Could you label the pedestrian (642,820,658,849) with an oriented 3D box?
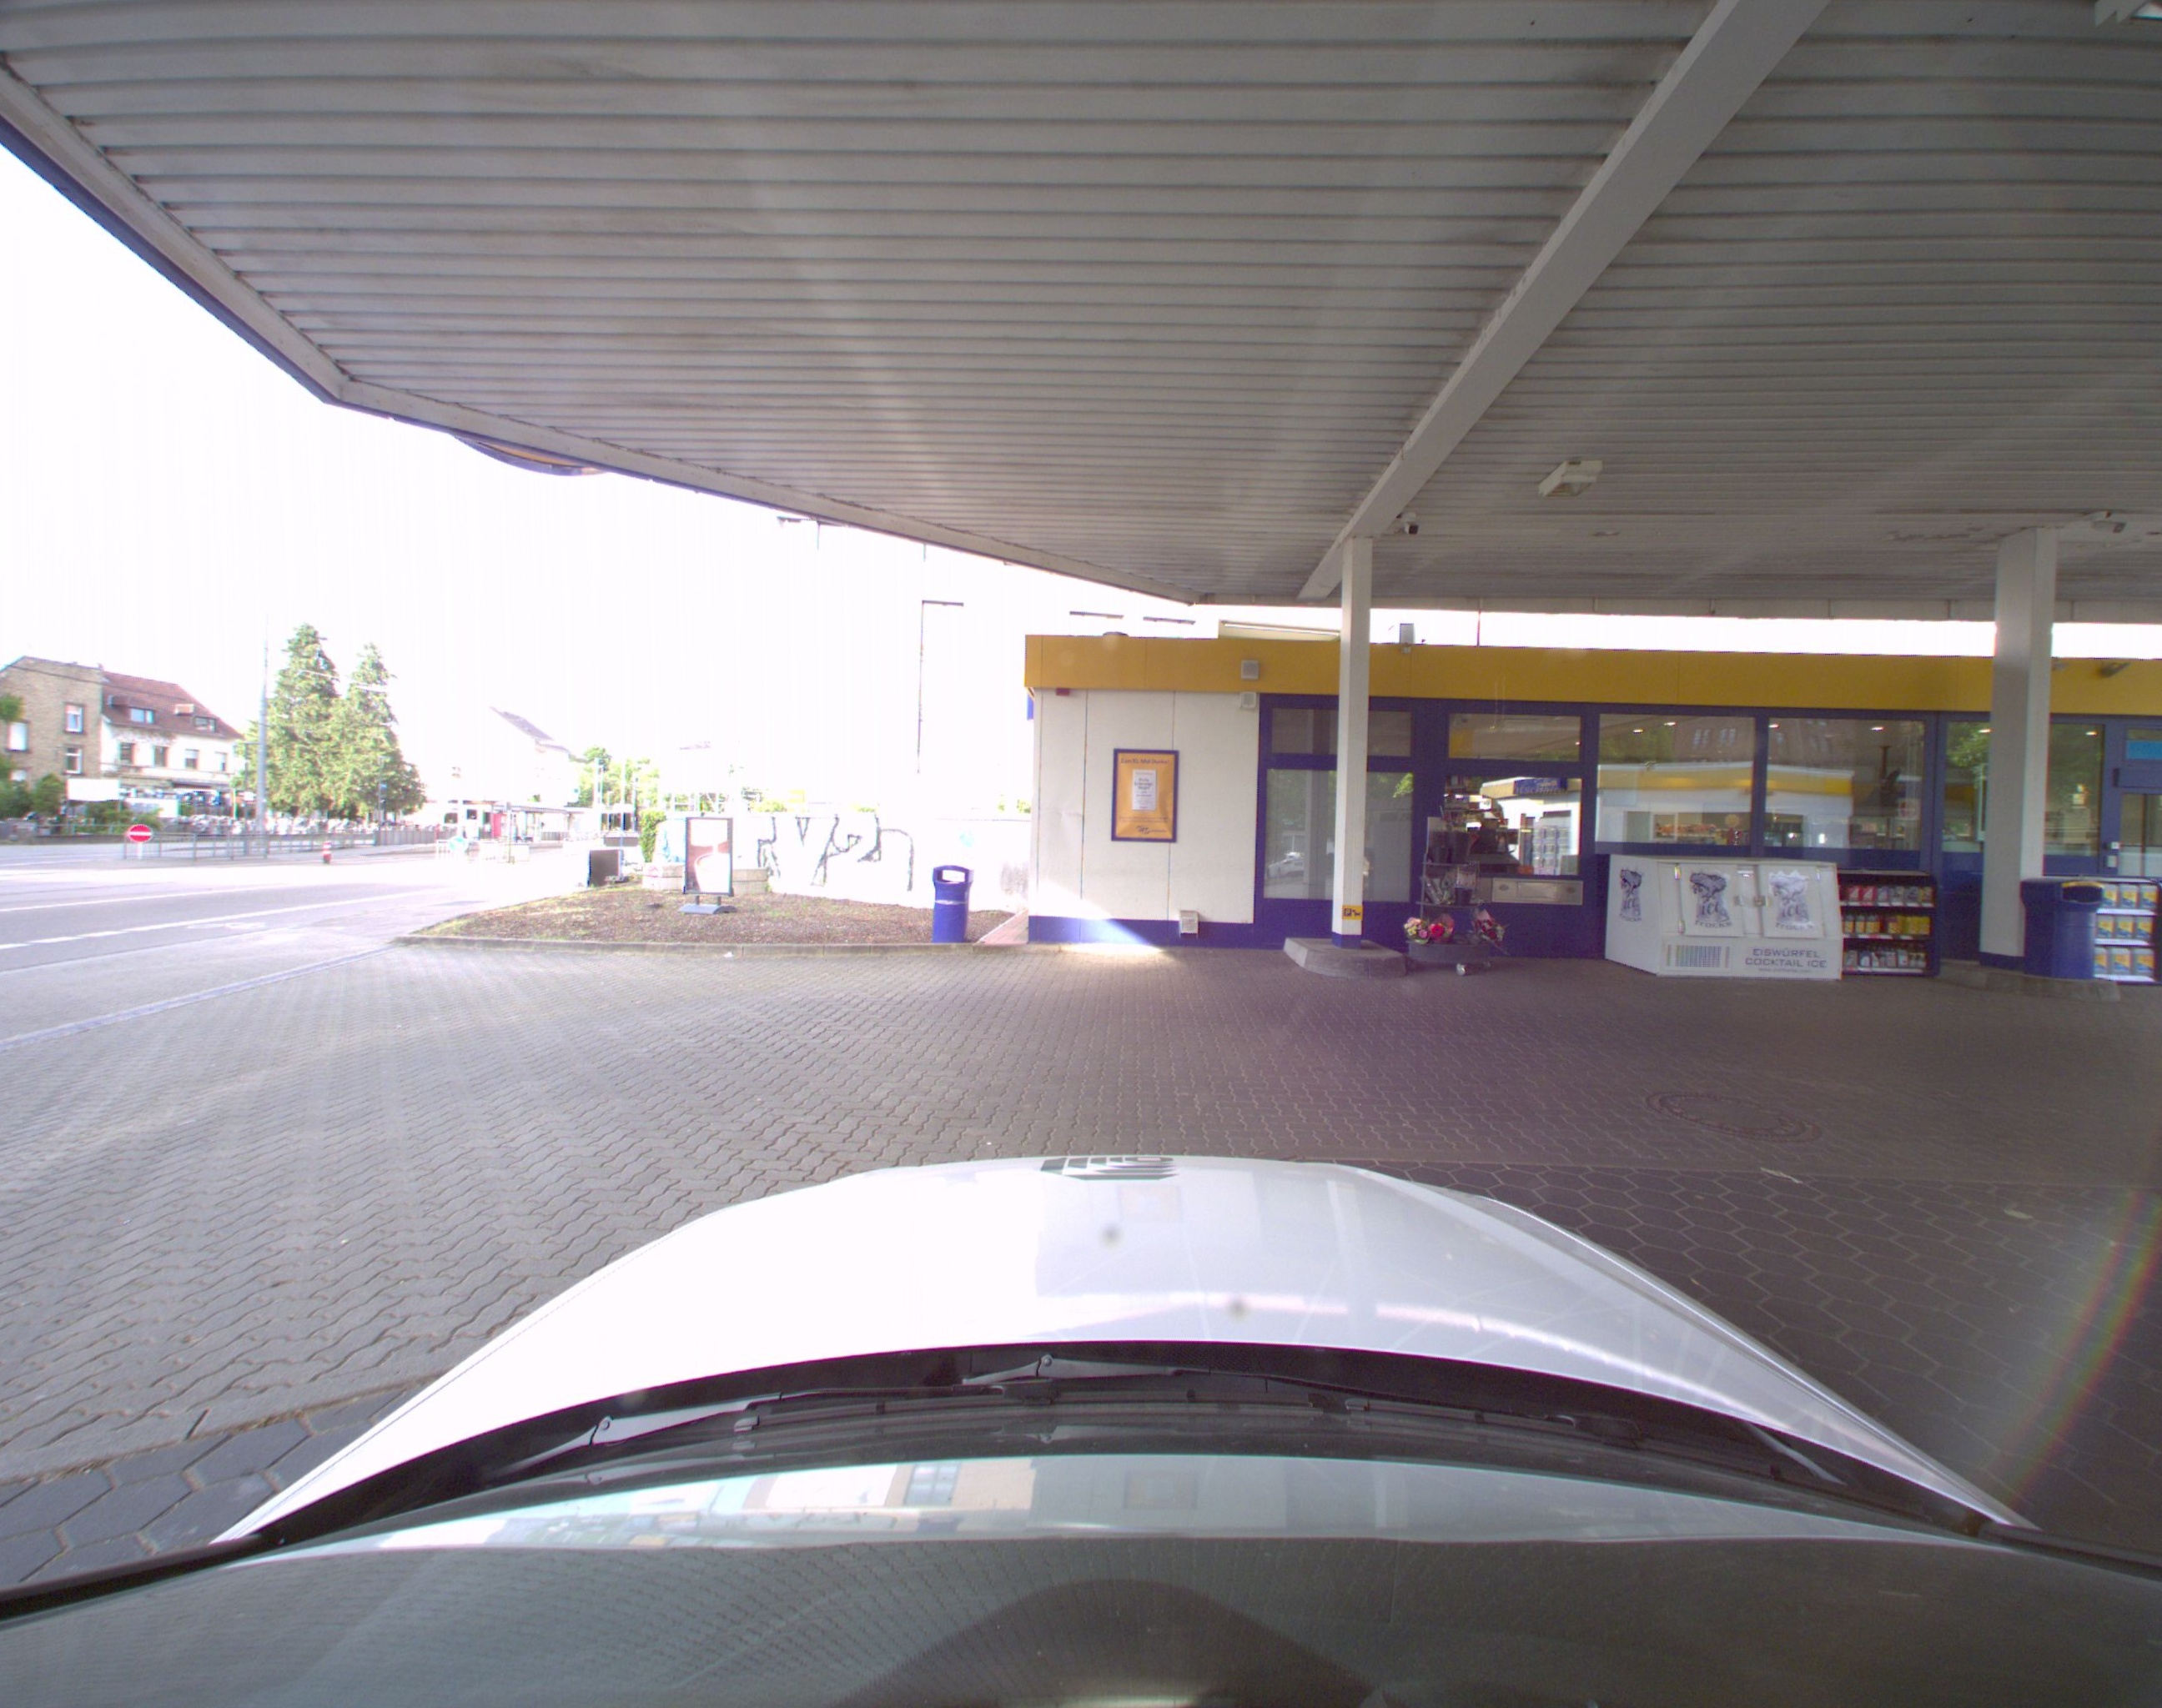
[{"bbox_3d":[-30.864,-1.389,58.326,0.807,2.014,0.846,0,-1,-14],"label":"pedestrian"}]
